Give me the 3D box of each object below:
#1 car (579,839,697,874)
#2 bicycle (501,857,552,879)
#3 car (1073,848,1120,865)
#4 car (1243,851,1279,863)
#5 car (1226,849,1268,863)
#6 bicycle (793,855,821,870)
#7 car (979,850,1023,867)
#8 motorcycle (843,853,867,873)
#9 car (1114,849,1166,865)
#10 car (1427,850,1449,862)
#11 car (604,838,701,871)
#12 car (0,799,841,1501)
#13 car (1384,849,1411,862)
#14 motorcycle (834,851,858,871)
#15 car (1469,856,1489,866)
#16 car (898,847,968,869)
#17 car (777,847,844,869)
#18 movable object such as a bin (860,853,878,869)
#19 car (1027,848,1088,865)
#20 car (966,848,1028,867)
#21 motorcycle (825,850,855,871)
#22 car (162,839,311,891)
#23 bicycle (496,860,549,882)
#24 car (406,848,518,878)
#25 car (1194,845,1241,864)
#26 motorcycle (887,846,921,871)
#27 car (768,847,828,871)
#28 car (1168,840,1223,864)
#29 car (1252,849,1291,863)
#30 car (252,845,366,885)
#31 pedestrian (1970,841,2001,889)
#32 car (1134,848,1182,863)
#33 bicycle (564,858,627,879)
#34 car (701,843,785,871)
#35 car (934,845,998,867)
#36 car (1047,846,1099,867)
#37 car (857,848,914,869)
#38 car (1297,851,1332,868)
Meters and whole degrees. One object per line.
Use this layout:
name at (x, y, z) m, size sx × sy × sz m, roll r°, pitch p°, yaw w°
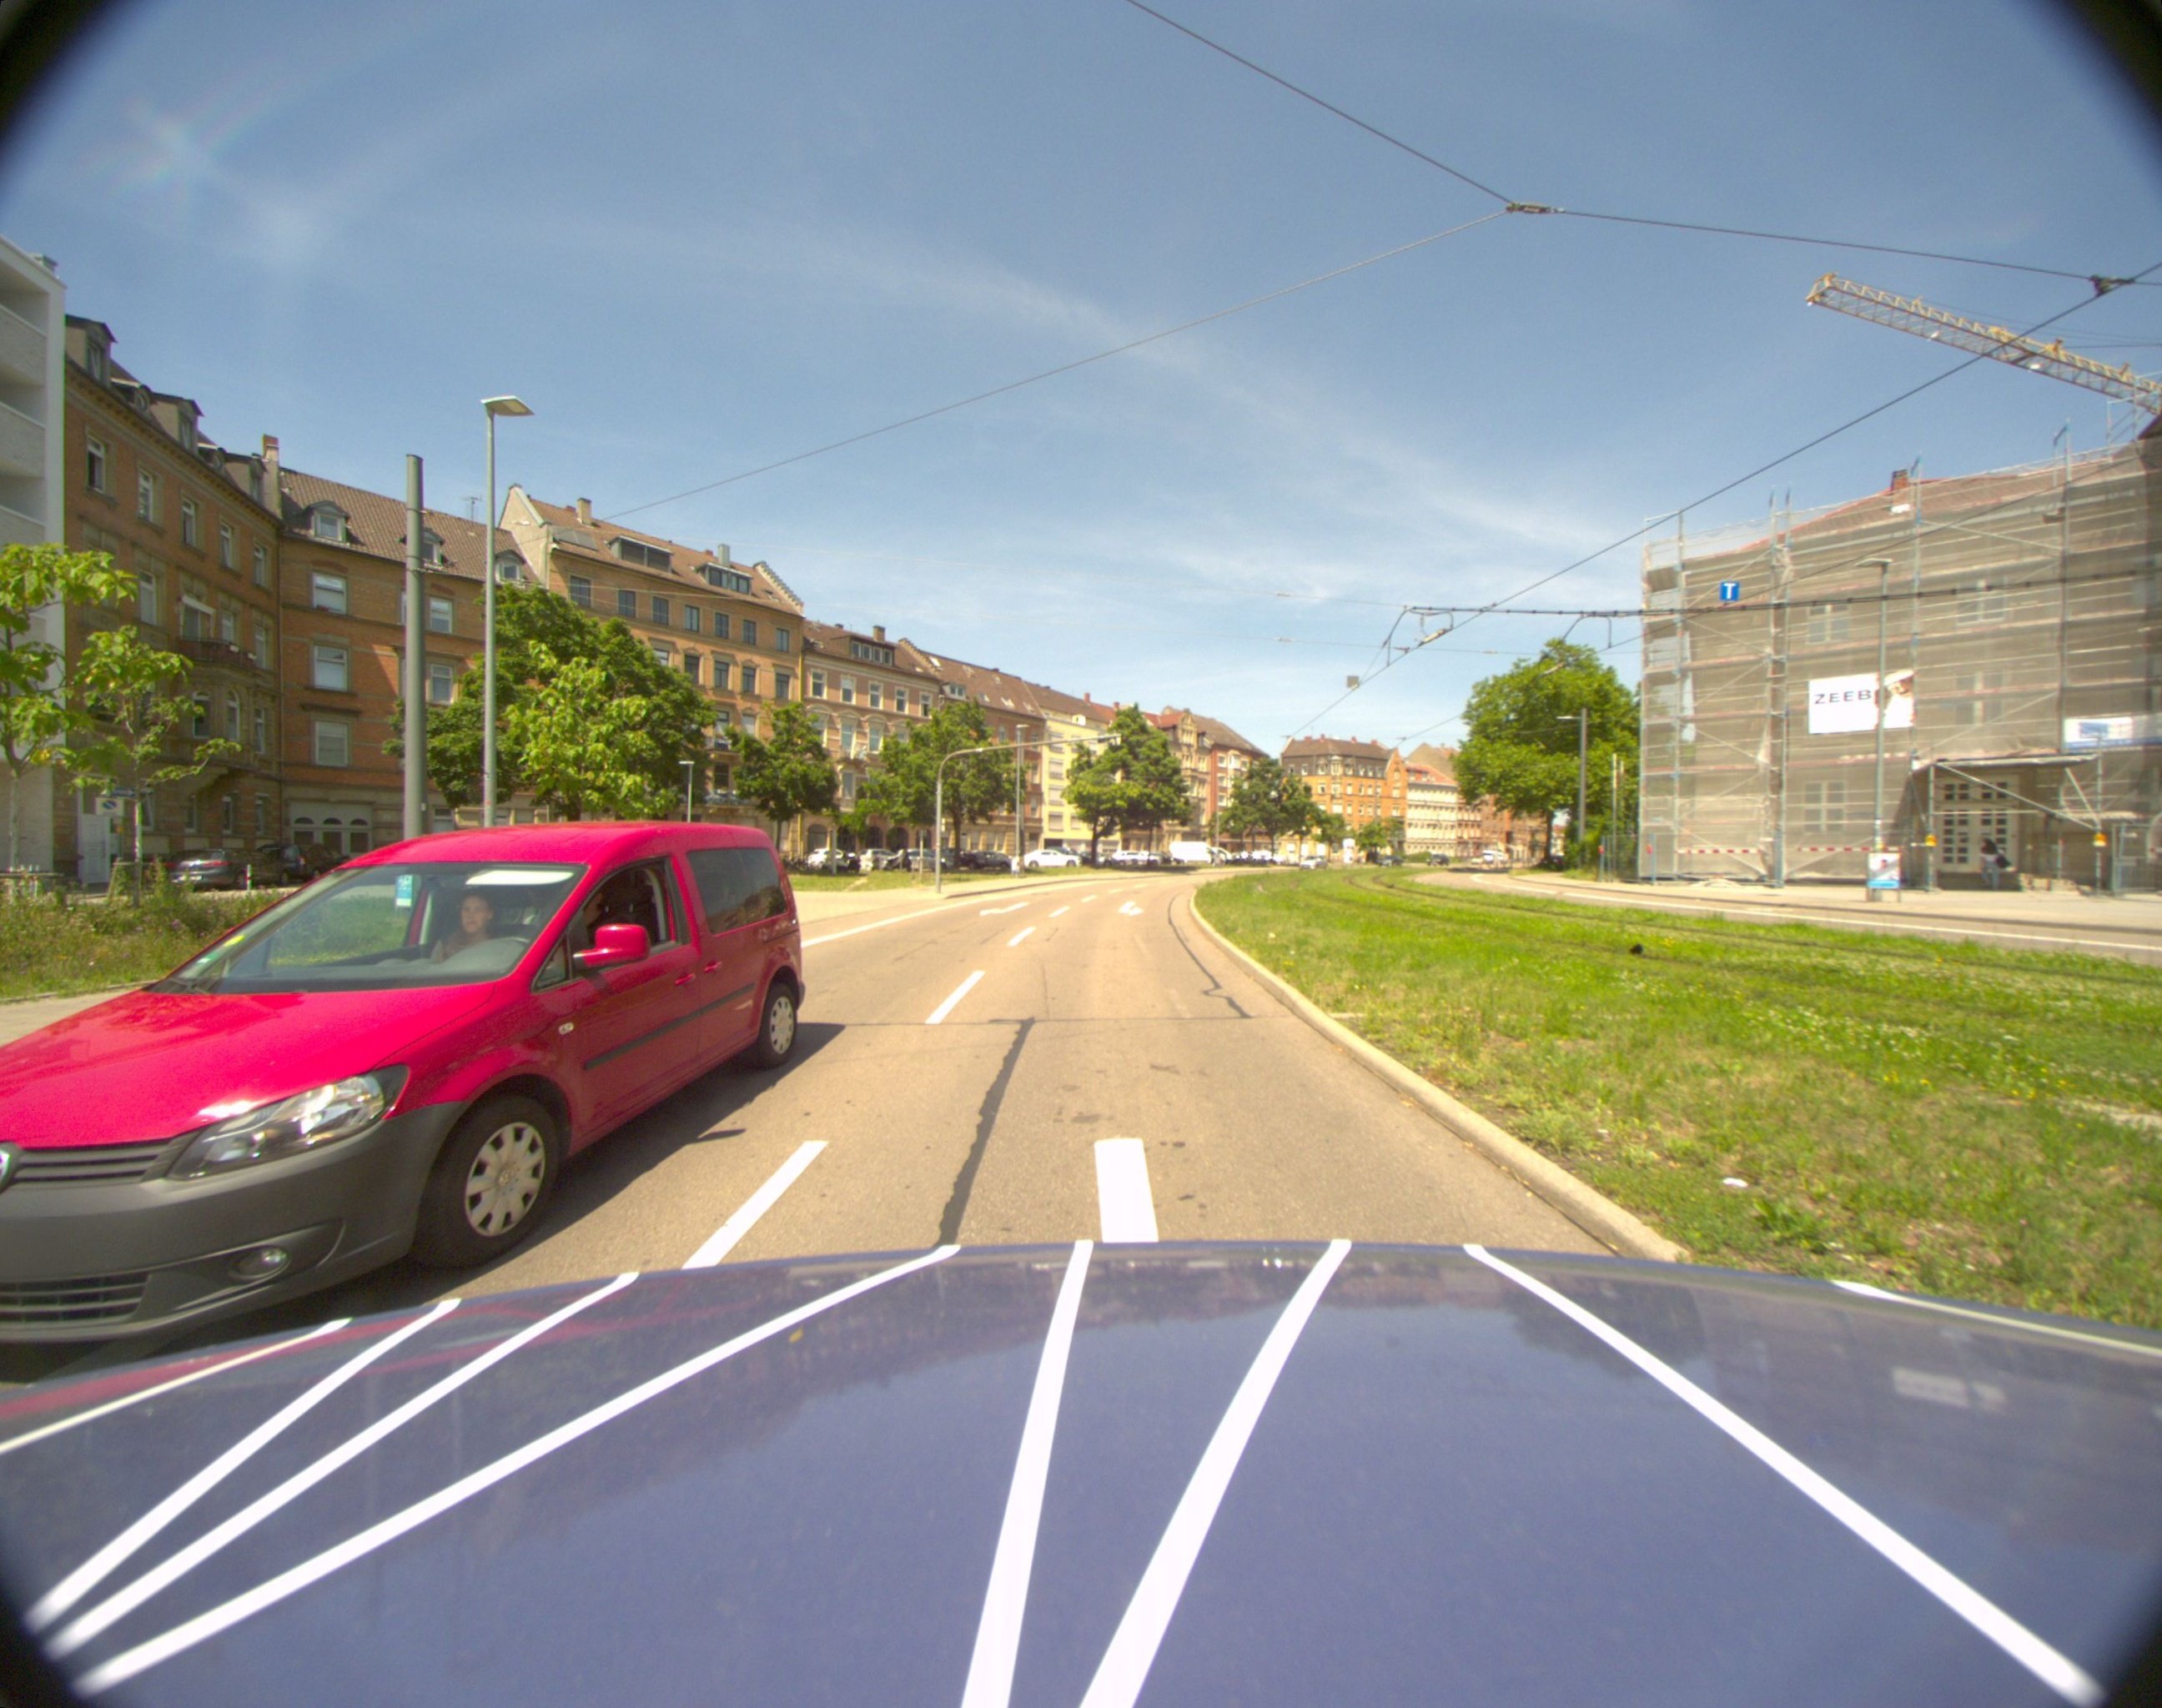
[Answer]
car at (-21.109, 0.125, 36.232) m, size 4.866 × 1.591 × 1.838 m, roll -1°, pitch 0°, yaw 12°
bicycle at (-24.375, 0.615, 33.419) m, size 2.047 × 0.930 × 0.509 m, roll -1°, pitch 0°, yaw 9°
car at (1.371, 0.239, 65.450) m, size 3.996 × 1.392 × 1.713 m, roll -1°, pitch 0°, yaw 3°
car at (21.222, 0.341, 89.695) m, size 3.991 × 1.391 × 1.826 m, roll -1°, pitch 0°, yaw 18°
car at (19.126, 0.216, 87.317) m, size 4.624 × 1.488 × 1.968 m, roll -1°, pitch 0°, yaw 15°
bicycle at (-15.328, 0.486, 42.532) m, size 1.457 × 0.800 × 0.498 m, roll -1°, pitch 0°, yaw -17°
car at (-7.074, 0.378, 67.401) m, size 1.779 × 1.411 × 3.724 m, roll -1°, pitch 0°, yaw 38°
motorcycle at (-12.746, 0.505, 42.857) m, size 1.521 × 1.113 × 0.479 m, roll -1°, pitch 0°, yaw 39°
car at (5.459, 0.249, 70.315) m, size 4.688 × 1.419 × 1.973 m, roll -1°, pitch 0°, yaw 3°
car at (47.889, 0.305, 101.774) m, size 1.796 × 1.564 × 4.008 m, roll -1°, pitch 0°, yaw 38°
car at (-25.365, 0.029, 45.113) m, size 1.920 × 1.892 × 4.664 m, roll -1°, pitch 0°, yaw 39°
car at (-3.146, 0.801, 4.556) m, size 1.860 × 1.823 × 5.166 m, roll -1°, pitch 0°, yaw -1°
car at (37.332, 0.177, 89.609) m, size 1.796 × 1.564 × 4.009 m, roll -1°, pitch 0°, yaw 41°
motorcycle at (-14.493, 0.425, 46.879) m, size 0.814 × 1.229 × 2.080 m, roll -1°, pitch 0°, yaw -35°
car at (62.715, 1.144, 119.708) m, size 1.796 × 1.564 × 4.008 m, roll -1°, pitch 0°, yaw 43°
car at (-9.841, 0.284, 50.572) m, size 4.340 × 1.368 × 1.584 m, roll -1°, pitch 0°, yaw 13°
car at (-18.961, 0.282, 53.396) m, size 1.837 × 1.521 × 4.009 m, roll -1°, pitch 0°, yaw 41°
movable object such as a bin at (-12.674, 0.423, 45.365) m, size 0.703 × 0.931 × 0.986 m, roll -1°, pitch 0°, yaw -39°
car at (-1.874, 0.222, 60.803) m, size 4.785 × 1.305 × 2.149 m, roll -1°, pitch 0°, yaw -2°
car at (-6.058, 0.284, 55.191) m, size 3.992 × 1.305 × 1.975 m, roll -1°, pitch 0°, yaw 17°
motorcycle at (-13.310, 0.376, 41.995) m, size 1.823 × 1.113 × 0.529 m, roll -1°, pitch 0°, yaw 32°
car at (-28.490, 0.354, 25.831) m, size 1.697 × 1.615 × 4.123 m, roll -1°, pitch 0°, yaw -21°
bicycle at (-23.989, 0.716, 32.631) m, size 2.047 × 0.930 × 0.509 m, roll -1°, pitch 0°, yaw 9°
car at (-30.822, 0.415, 37.927) m, size 1.772 × 1.411 × 4.008 m, roll -1°, pitch 0°, yaw 38°
car at (14.766, 0.111, 82.257) m, size 4.840 × 1.961 × 2.078 m, roll -1°, pitch 0°, yaw 10°
motorcycle at (-10.321, 0.273, 44.343) m, size 0.675 × 1.405 × 1.860 m, roll 2°, pitch 1°, yaw 40°
car at (-16.949, 0.306, 45.418) m, size 1.961 × 1.368 × 3.989 m, roll -1°, pitch 0°, yaw -43°
car at (11.951, -0.219, 79.697) m, size 5.546 × 2.446 × 2.238 m, roll -1°, pitch 0°, yaw 3°
car at (23.086, 0.209, 92.174) m, size 4.403 × 1.622 × 2.003 m, roll -1°, pitch 0°, yaw 17°
car at (-31.615, 0.438, 31.286) m, size 1.779 × 1.520 × 4.074 m, roll -1°, pitch 0°, yaw -22°
pedestrian at (28.587, 0.345, 24.009) m, size 0.590 × 1.509 × 0.579 m, roll -1°, pitch 0°, yaw -37°
car at (7.388, 0.170, 73.234) m, size 4.427 × 1.330 × 1.973 m, roll -1°, pitch 0°, yaw 3°
bicycle at (-22.118, 0.654, 34.637) m, size 2.426 × 0.930 × 0.508 m, roll -1°, pitch 0°, yaw -4°
car at (-18.154, 0.180, 40.888) m, size 3.862 × 1.424 × 1.609 m, roll -1°, pitch 0°, yaw 10°
car at (-8.041, 0.124, 53.343) m, size 4.085 × 1.461 × 1.800 m, roll -1°, pitch 0°, yaw 12°
car at (-0.616, 0.220, 63.462) m, size 3.993 × 1.652 × 1.974 m, roll -1°, pitch 0°, yaw 12°
car at (-14.989, 0.318, 58.389) m, size 1.837 × 1.521 × 4.008 m, roll -1°, pitch 0°, yaw 37°
car at (22.588, 0.538, 73.337) m, size 1.796 × 1.564 × 4.009 m, roll -1°, pitch 0°, yaw 41°
